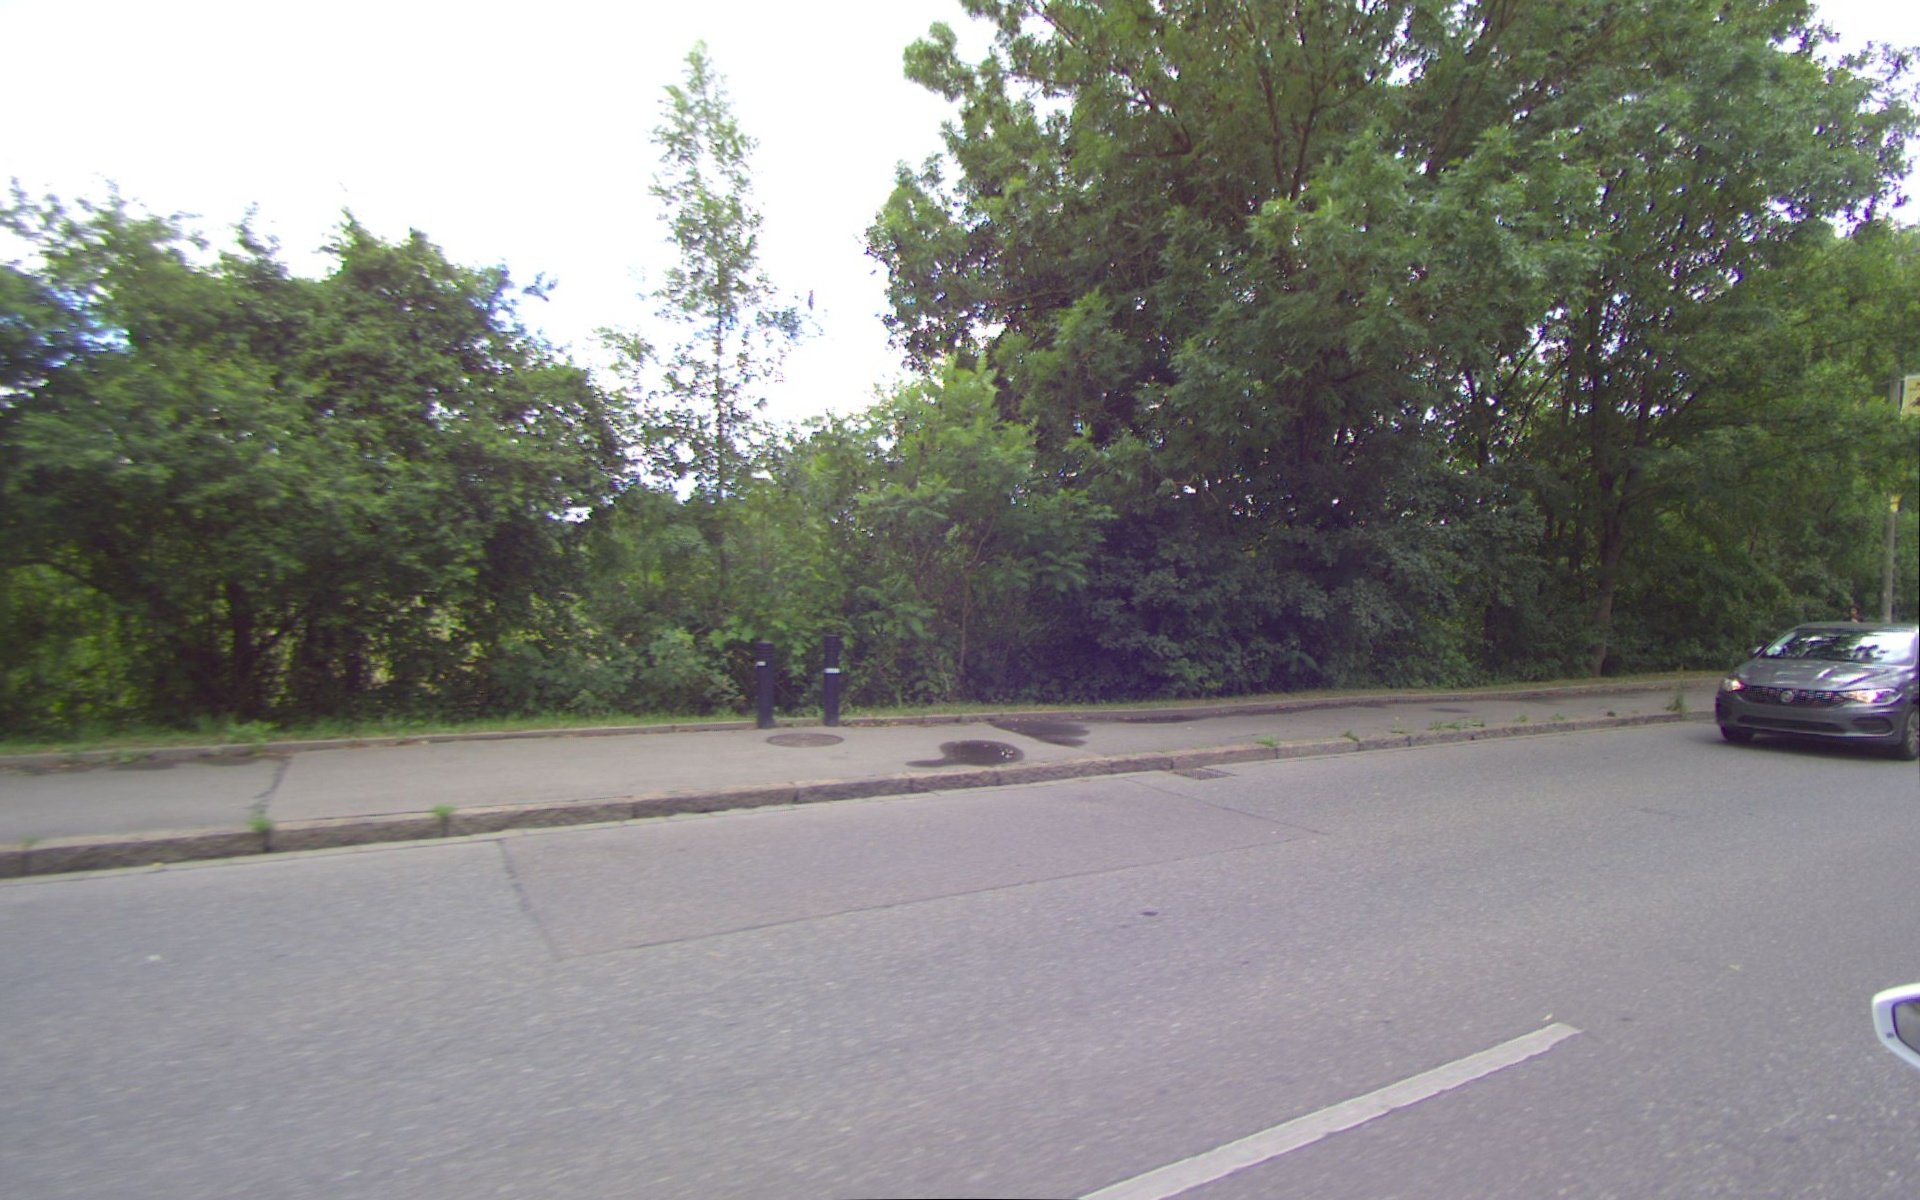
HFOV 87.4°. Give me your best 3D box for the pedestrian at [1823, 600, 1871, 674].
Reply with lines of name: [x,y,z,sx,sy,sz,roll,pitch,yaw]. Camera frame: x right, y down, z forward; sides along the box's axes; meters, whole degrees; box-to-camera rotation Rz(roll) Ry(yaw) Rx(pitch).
pedestrian: [21.536,0.891,24.386,0.806,1.737,0.596,1,2,-33]

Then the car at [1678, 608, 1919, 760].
car: [10.906,0.929,12.346,4.234,1.525,1.982,2,0,-33]
